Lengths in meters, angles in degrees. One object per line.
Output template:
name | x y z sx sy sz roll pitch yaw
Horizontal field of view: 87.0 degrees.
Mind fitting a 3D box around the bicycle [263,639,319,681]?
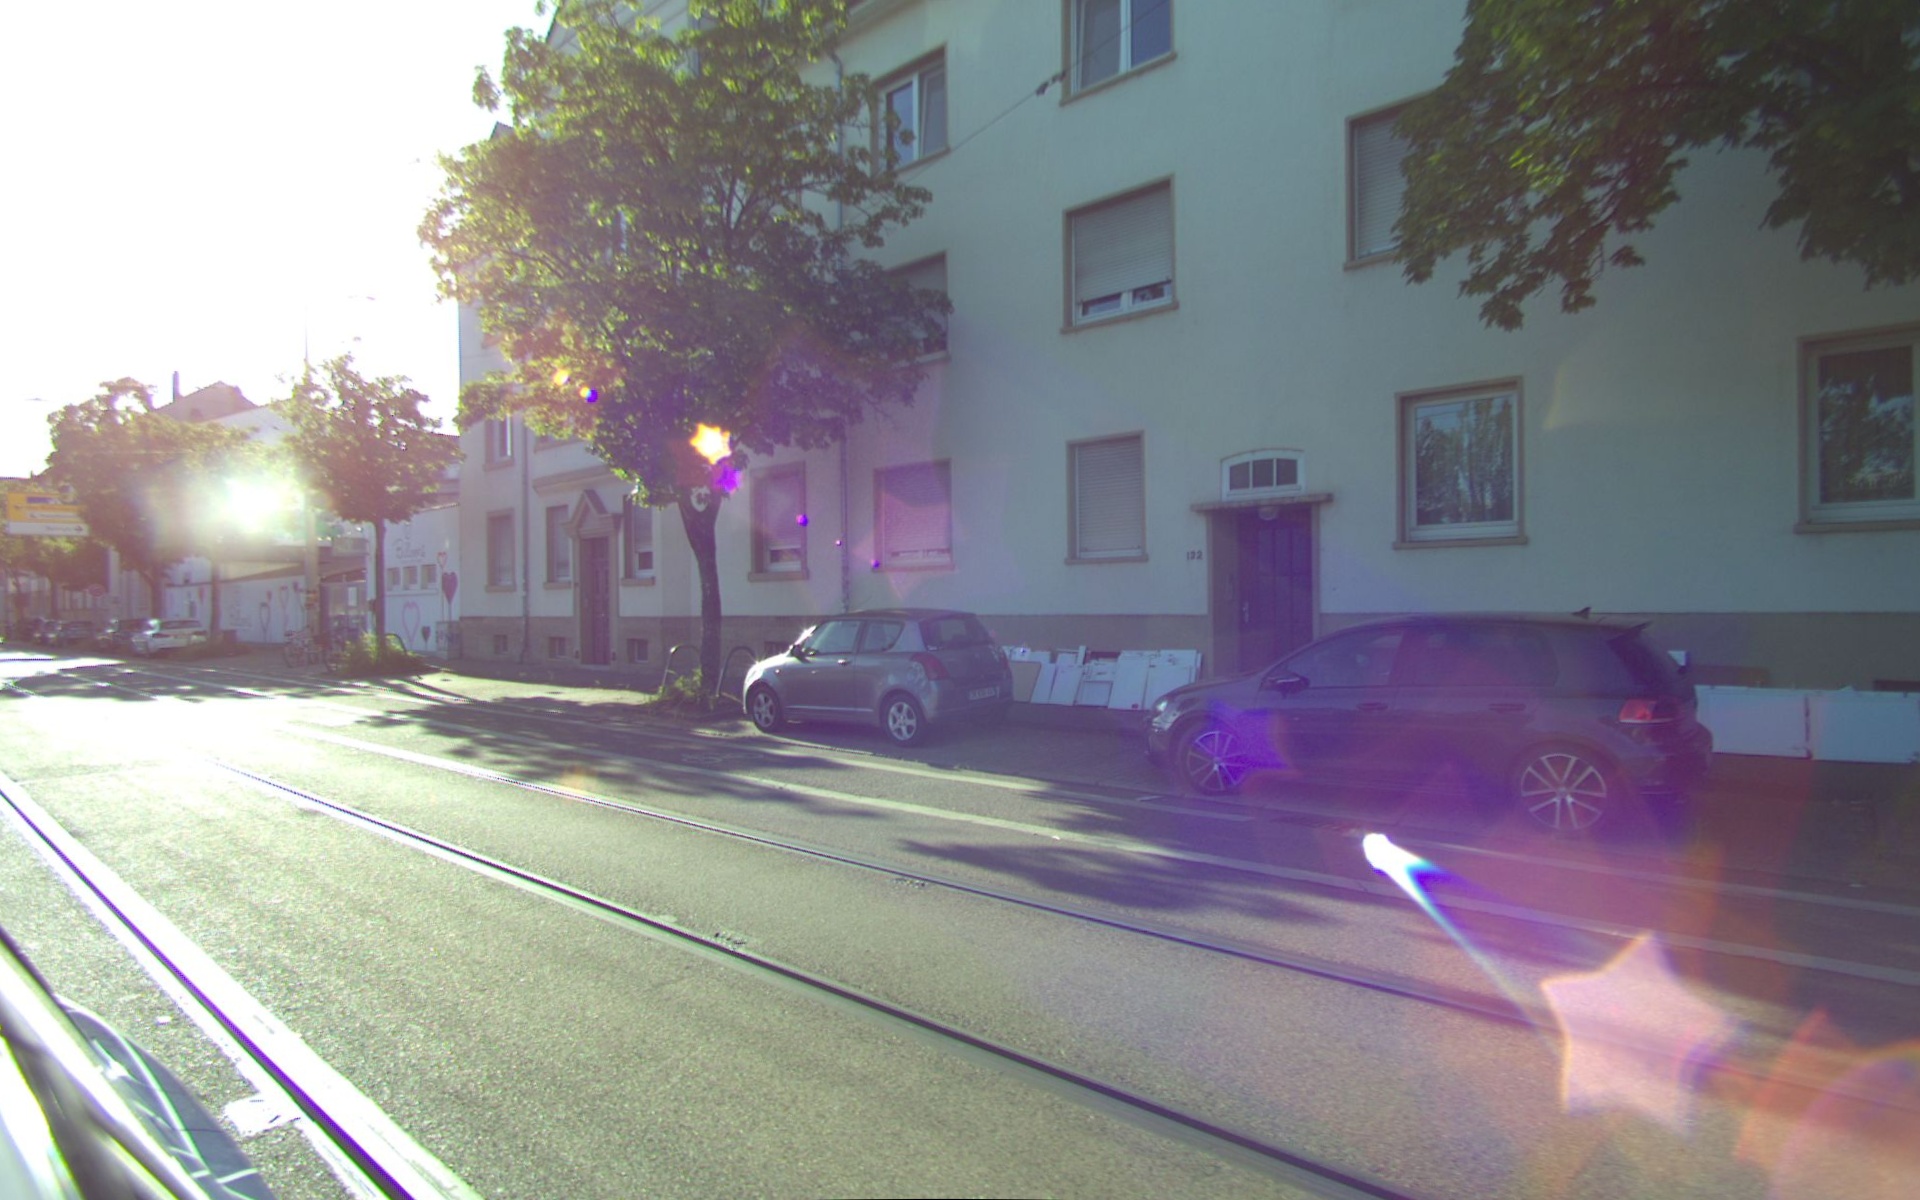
bicycle | -18.679 1.662 28.304 0.658 1.048 1.791 -1 0 -11

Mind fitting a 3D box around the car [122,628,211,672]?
car | -30.111 1.841 38.352 4.659 1.502 1.845 -1 0 41

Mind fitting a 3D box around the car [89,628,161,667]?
car | -36.017 2.016 43.622 4.303 1.497 1.754 -1 0 42

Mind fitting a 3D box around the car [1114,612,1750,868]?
car | 3.424 0.848 7.876 4.188 1.435 1.634 -1 0 42

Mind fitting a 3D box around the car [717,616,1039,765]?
car | -1.127 0.975 12.425 3.999 1.502 1.634 -1 0 42

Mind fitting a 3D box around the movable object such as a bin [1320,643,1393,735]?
movable object such as a bin | 4.291 0.942 10.950 0.568 0.941 0.590 -2 -2 39

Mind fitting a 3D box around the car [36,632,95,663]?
car | -47.368 2.483 53.573 4.291 1.439 1.853 -1 0 42

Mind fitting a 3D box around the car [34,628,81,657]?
car | -51.541 2.391 57.778 3.999 1.516 1.555 -1 0 42

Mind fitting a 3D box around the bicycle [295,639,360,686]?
bicycle | -16.019 1.558 25.682 0.524 1.048 1.989 -1 0 -4

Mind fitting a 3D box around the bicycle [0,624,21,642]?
bicycle | -65.895 2.276 70.018 0.409 1.178 1.326 -1 0 42

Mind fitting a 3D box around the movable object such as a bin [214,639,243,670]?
movable object such as a bin | -24.588 1.826 34.003 0.702 0.966 0.576 -1 4 42

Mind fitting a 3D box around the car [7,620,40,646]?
car | -60.117 2.136 64.951 2.546 1.514 1.341 -5 -2 42
